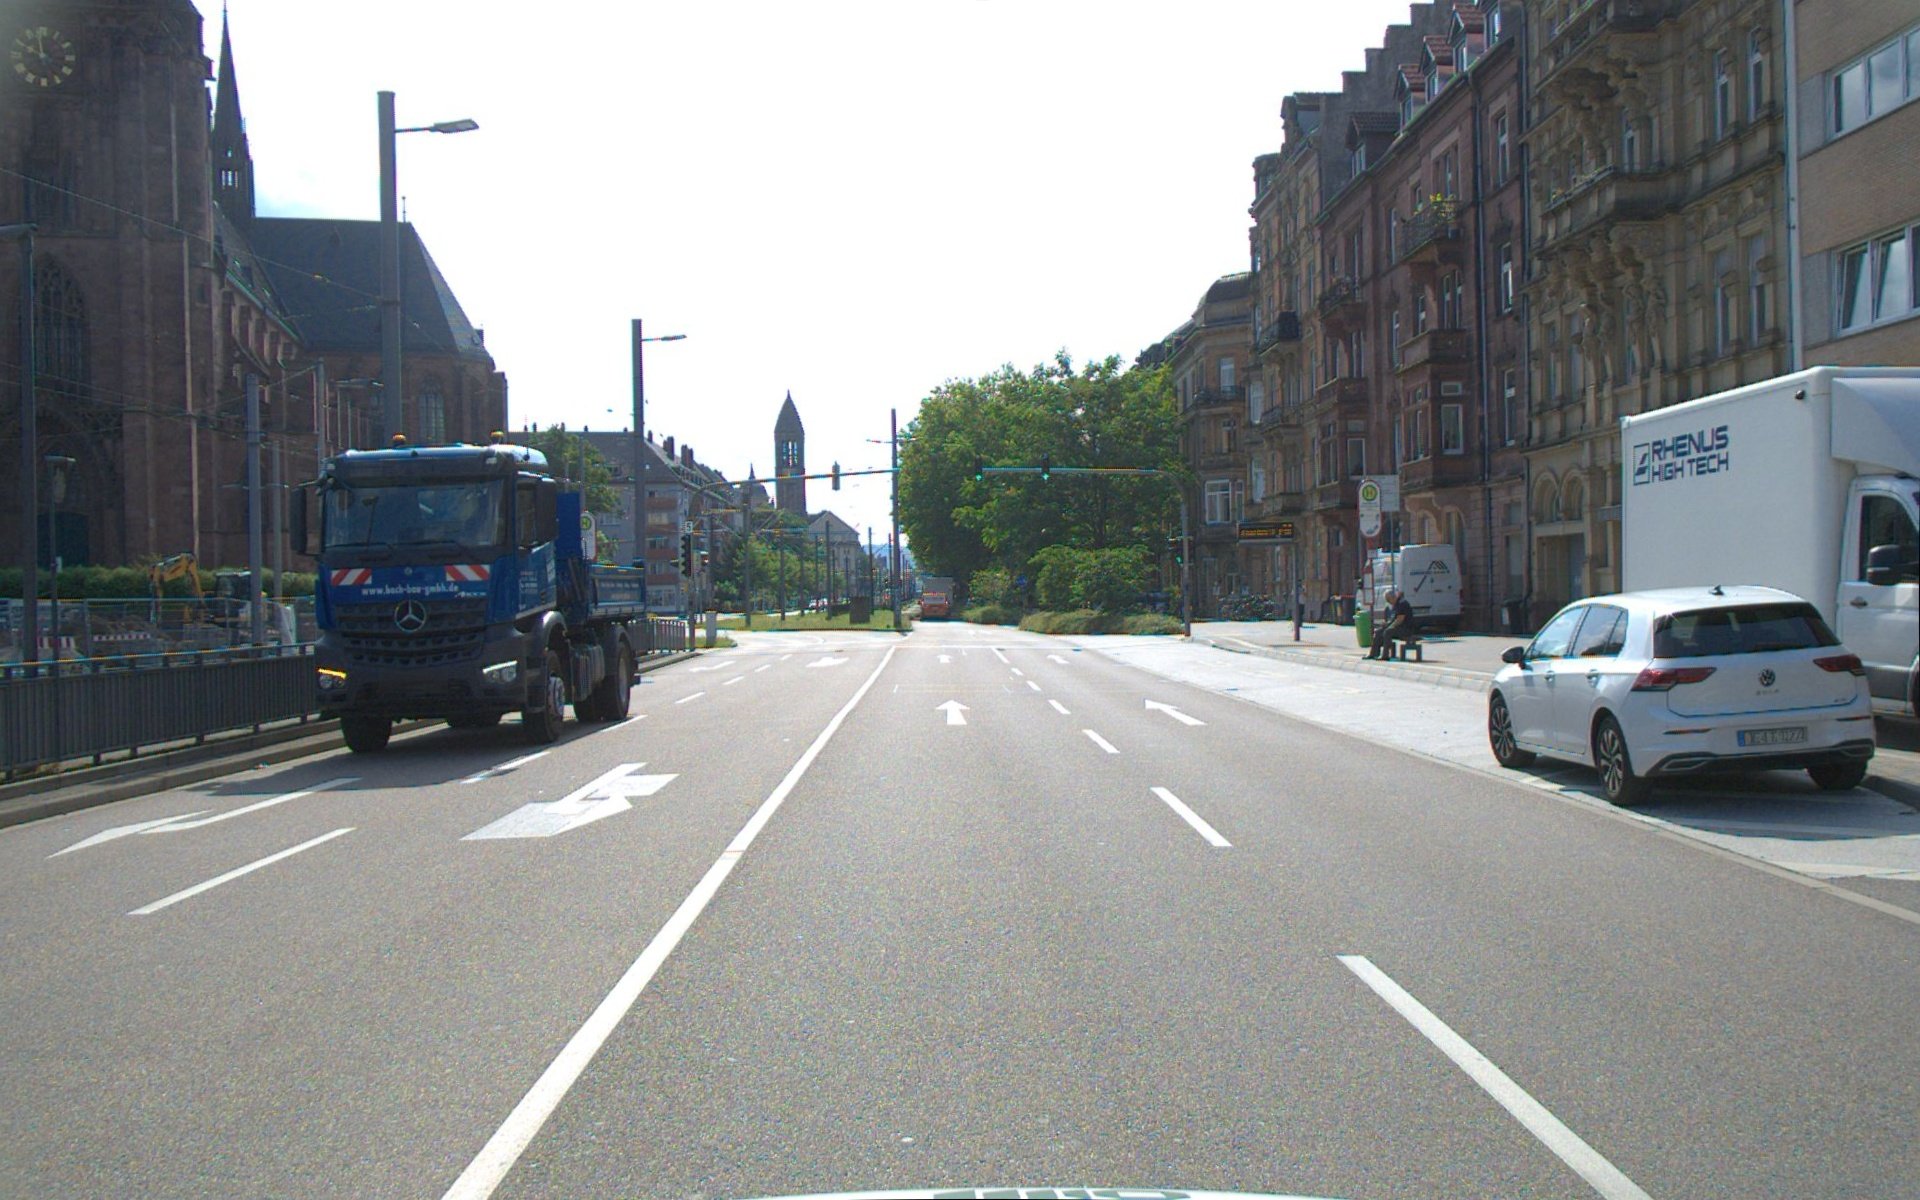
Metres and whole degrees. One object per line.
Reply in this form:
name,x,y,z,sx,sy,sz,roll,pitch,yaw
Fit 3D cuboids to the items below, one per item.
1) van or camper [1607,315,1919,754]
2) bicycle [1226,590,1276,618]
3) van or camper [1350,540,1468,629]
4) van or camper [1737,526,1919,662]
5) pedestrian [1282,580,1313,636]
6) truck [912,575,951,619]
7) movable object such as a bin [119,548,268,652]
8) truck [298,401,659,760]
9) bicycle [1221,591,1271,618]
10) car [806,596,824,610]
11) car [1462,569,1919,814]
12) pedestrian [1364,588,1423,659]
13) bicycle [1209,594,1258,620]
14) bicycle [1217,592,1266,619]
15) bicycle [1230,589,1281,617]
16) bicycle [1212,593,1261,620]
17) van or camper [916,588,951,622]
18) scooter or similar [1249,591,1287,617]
van or camper,8.758,-0.524,15.199,2.656,3.389,7.640,-1,0,0
bicycle,13.106,0.176,74.510,2.147,1.201,0.683,0,0,-6
van or camper,13.504,-0.448,50.143,1.953,2.517,5.564,-1,0,-1
van or camper,14.448,-0.141,25.702,1.954,1.938,5.294,-3,0,-3
pedestrian,12.619,0.288,61.860,0.868,2.049,0.996,1,0,-1
truck,-2.391,-0.225,140.993,3.105,3.344,7.294,1,-3,0
movable object such as a bin,-29.144,-0.037,63.176,2.609,3.796,5.598,0,0,6
truck,-5.746,-0.219,21.137,2.413,3.712,7.448,-1,0,-1
bicycle,12.992,0.213,75.156,2.147,1.201,0.683,0,0,-6
car,-20.386,0.415,232.427,1.952,1.825,4.001,-1,0,2
car,5.460,0.604,12.864,1.754,1.462,4.343,-4,0,1
pedestrian,8.315,0.453,31.715,0.737,1.339,0.810,2,-1,-39
bicycle,12.787,0.338,77.273,2.147,1.201,0.683,0,0,-6
bicycle,12.912,0.254,75.860,2.147,1.201,0.683,0,0,-6
bicycle,13.190,0.131,73.748,2.147,1.201,0.683,0,0,-6
bicycle,12.820,0.297,76.594,2.147,1.201,0.683,0,0,-6
van or camper,-1.801,0.373,110.772,1.970,1.948,4.517,2,-4,-5
scooter or similar,13.270,0.157,71.297,1.533,1.117,0.451,0,0,3
